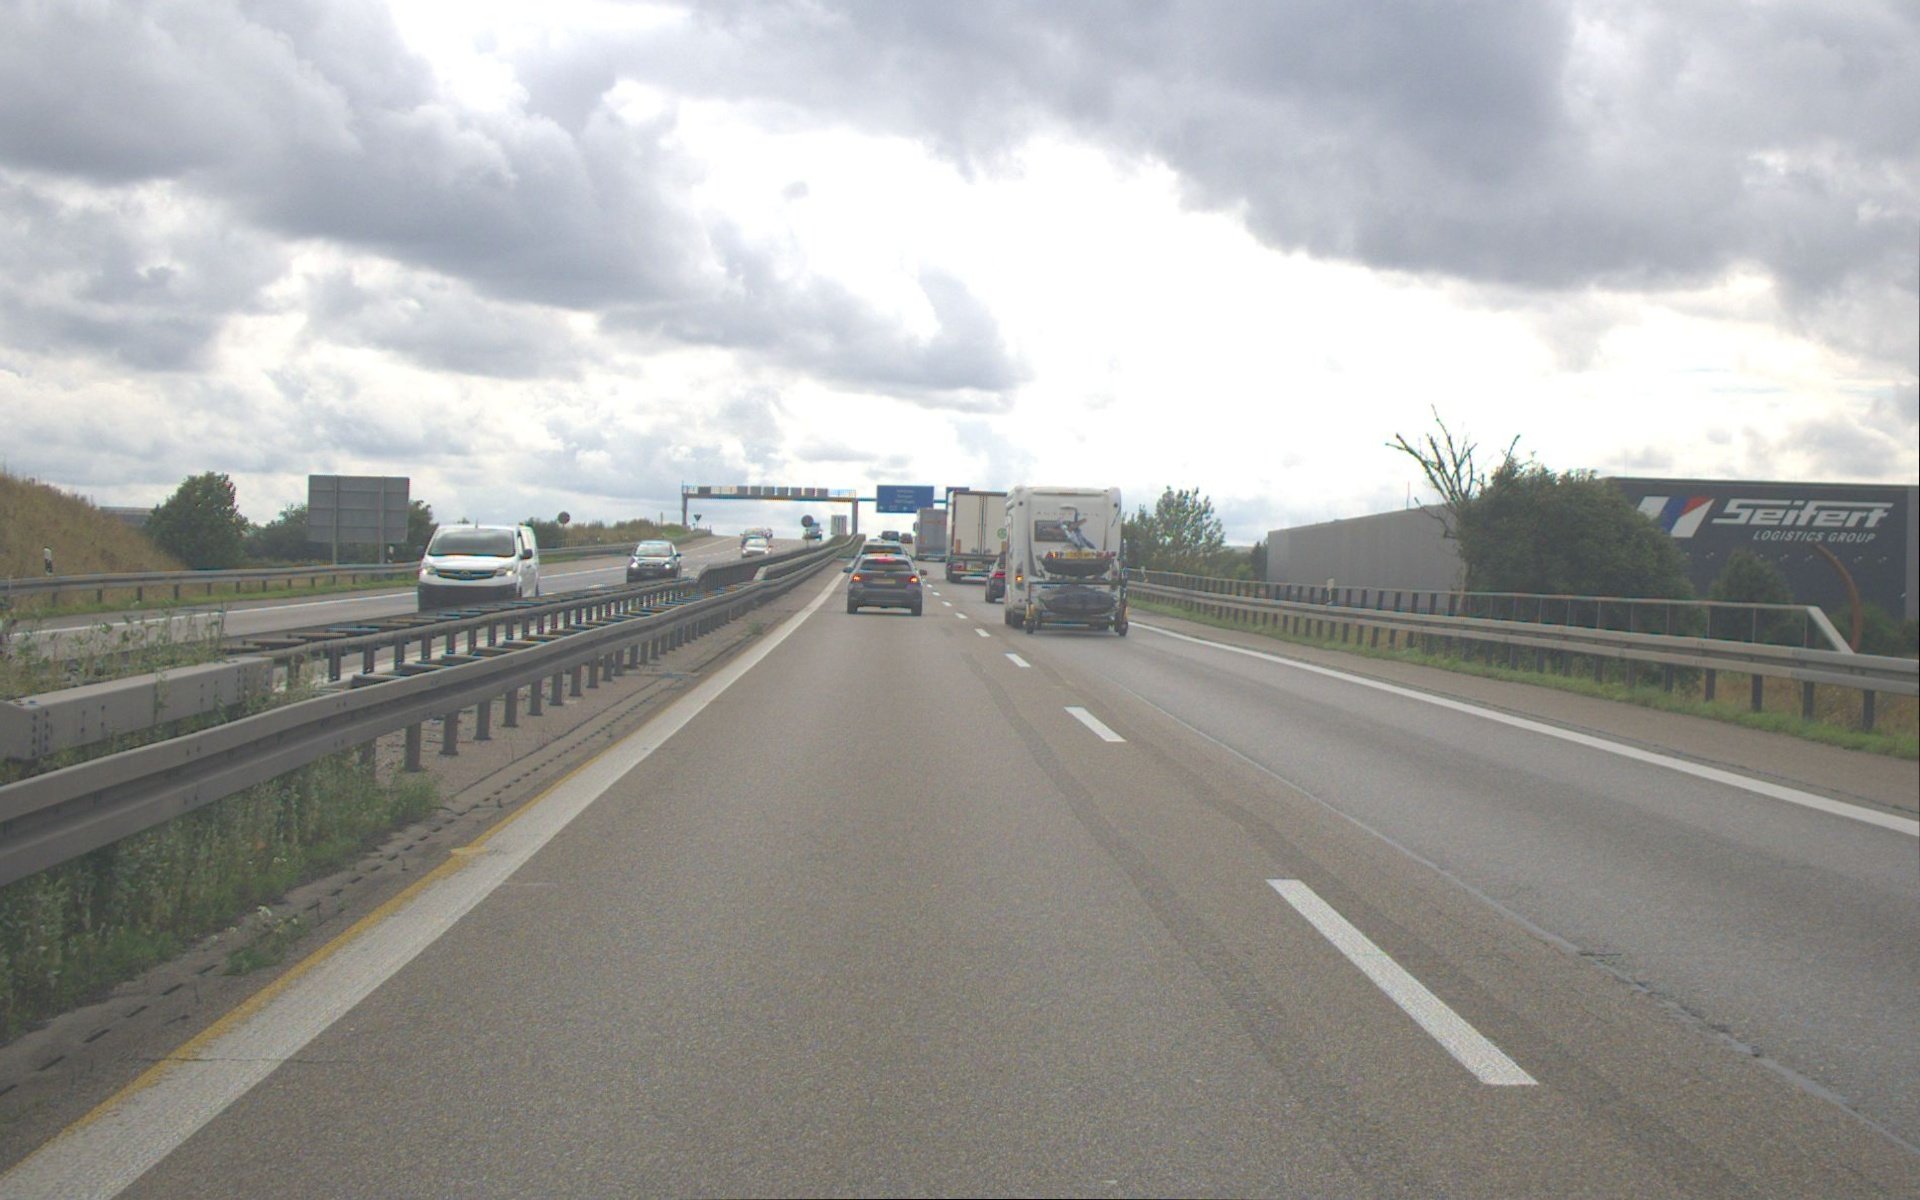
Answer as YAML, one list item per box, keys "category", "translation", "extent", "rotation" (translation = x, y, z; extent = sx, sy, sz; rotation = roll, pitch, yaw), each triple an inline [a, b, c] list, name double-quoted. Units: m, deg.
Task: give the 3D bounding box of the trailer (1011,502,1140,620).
- category: "trailer"
  translation: [2.190, -0.729, 65.527]
  extent: [2.338, 2.129, 4.000]
  rotation: [1, 0, 1]

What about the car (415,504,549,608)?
- category: "car"
  translation: [-9.134, -0.817, 66.104]
  extent: [1.828, 1.878, 5.419]
  rotation: [1, 0, -1]

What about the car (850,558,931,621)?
- category: "car"
  translation: [-1.649, -0.251, 82.943]
  extent: [1.746, 1.448, 4.000]
  rotation: [1, 0, 2]

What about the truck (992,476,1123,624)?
- category: "truck"
  translation: [2.005, -1.027, 72.654]
  extent: [2.482, 2.940, 5.815]
  rotation: [1, 0, -1]

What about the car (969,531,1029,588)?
- category: "car"
  translation: [1.225, -1.244, 106.943]
  extent: [1.801, 1.679, 4.000]
  rotation: [1, 0, 1]

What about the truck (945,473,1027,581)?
- category: "truck"
  translation: [1.077, -3.122, 150.577]
  extent: [3.339, 4.519, 8.017]
  rotation: [1, 0, -1]

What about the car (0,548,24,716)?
- category: "car"
  translation: [-8.856, 0.249, 27.037]
  extent: [1.811, 1.397, 4.406]
  rotation: [1, 0, -1]

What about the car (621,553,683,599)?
- category: "car"
  translation: [-10.810, -0.841, 120.845]
  extent: [1.841, 1.571, 4.000]
  rotation: [1, 0, -1]
